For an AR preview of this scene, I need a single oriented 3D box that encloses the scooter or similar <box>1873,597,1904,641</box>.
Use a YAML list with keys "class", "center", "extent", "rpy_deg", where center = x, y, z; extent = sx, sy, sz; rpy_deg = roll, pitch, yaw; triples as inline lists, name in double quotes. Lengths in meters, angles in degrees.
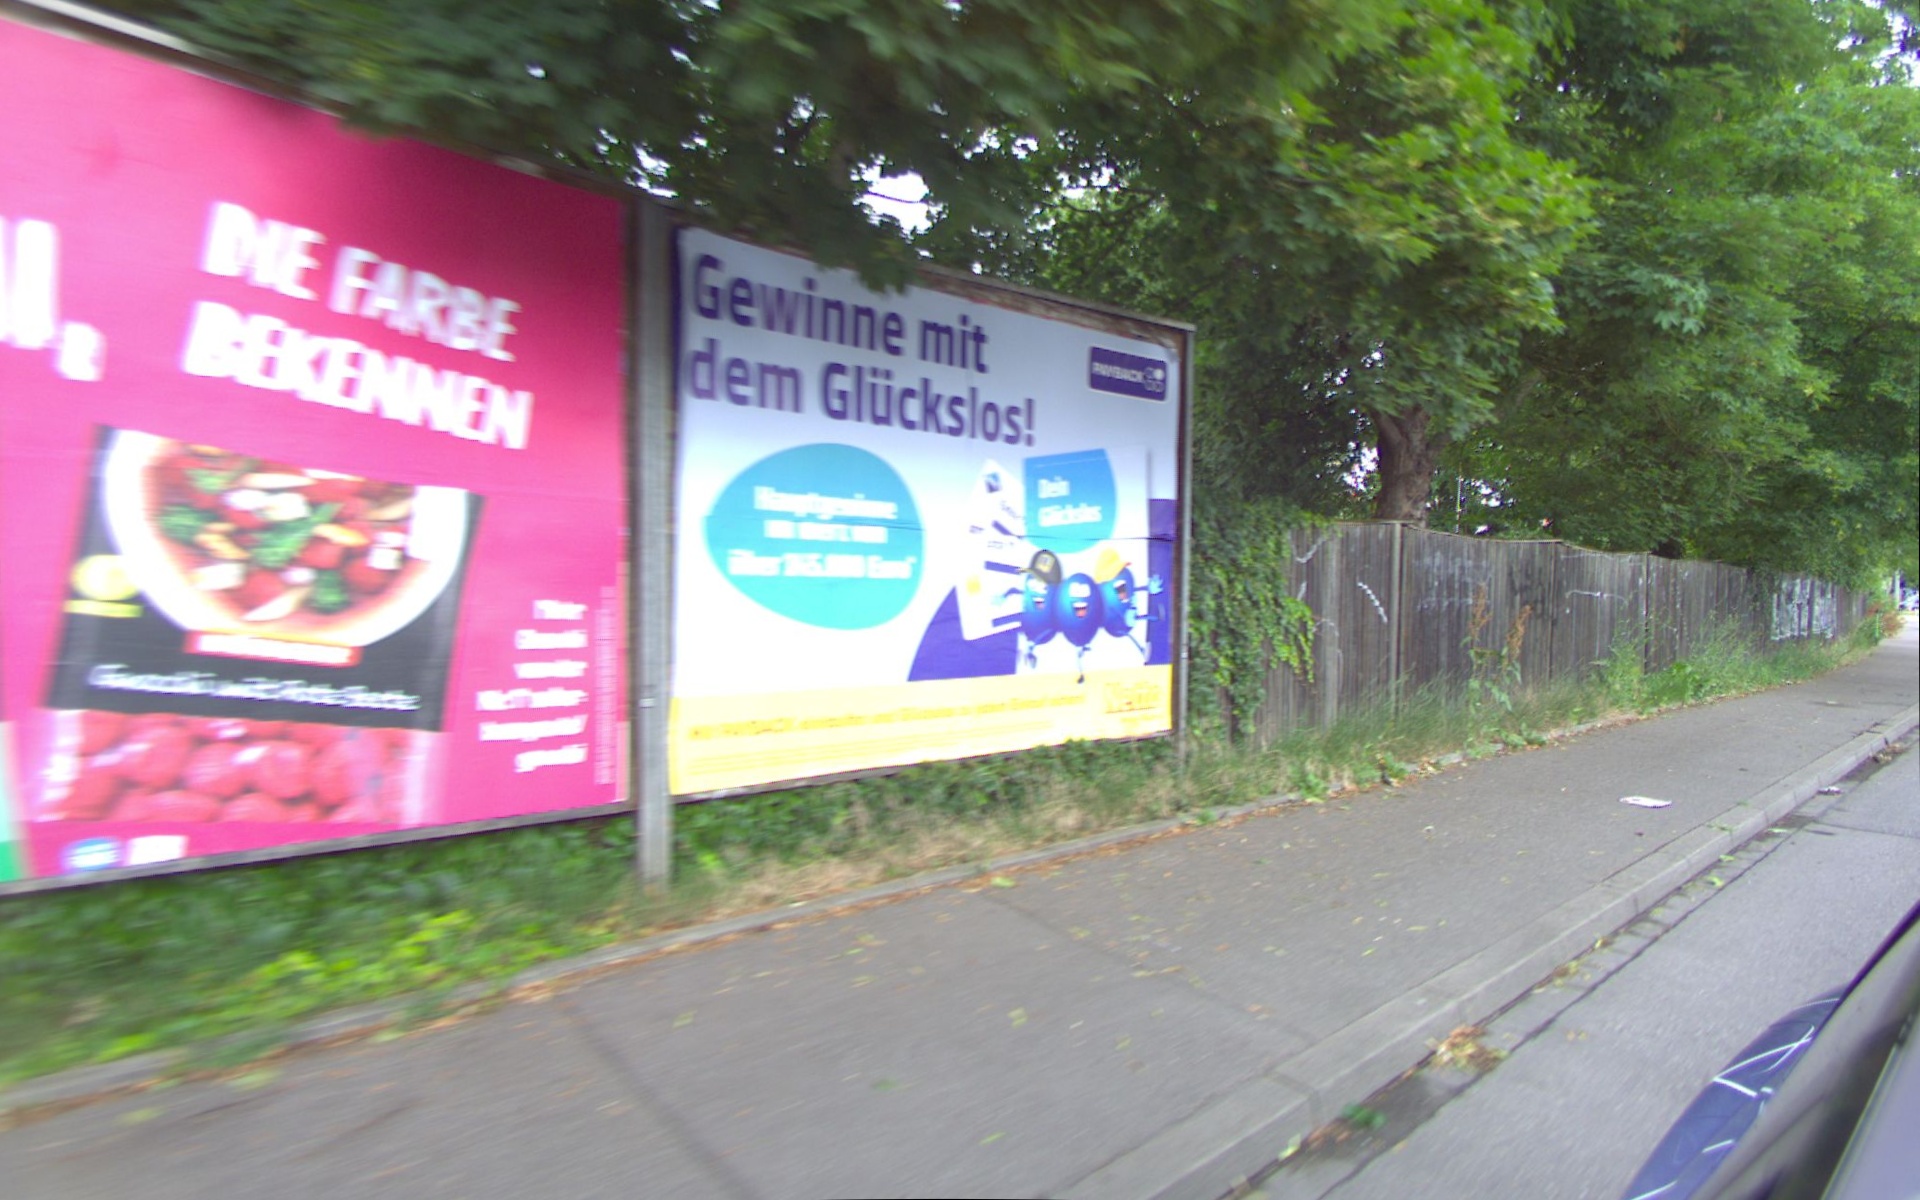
- class: "scooter or similar"
  center: [30.015, 0.599, 32.728]
  extent: [0.691, 1.328, 2.317]
  rpy_deg: [3, 1, 42]
